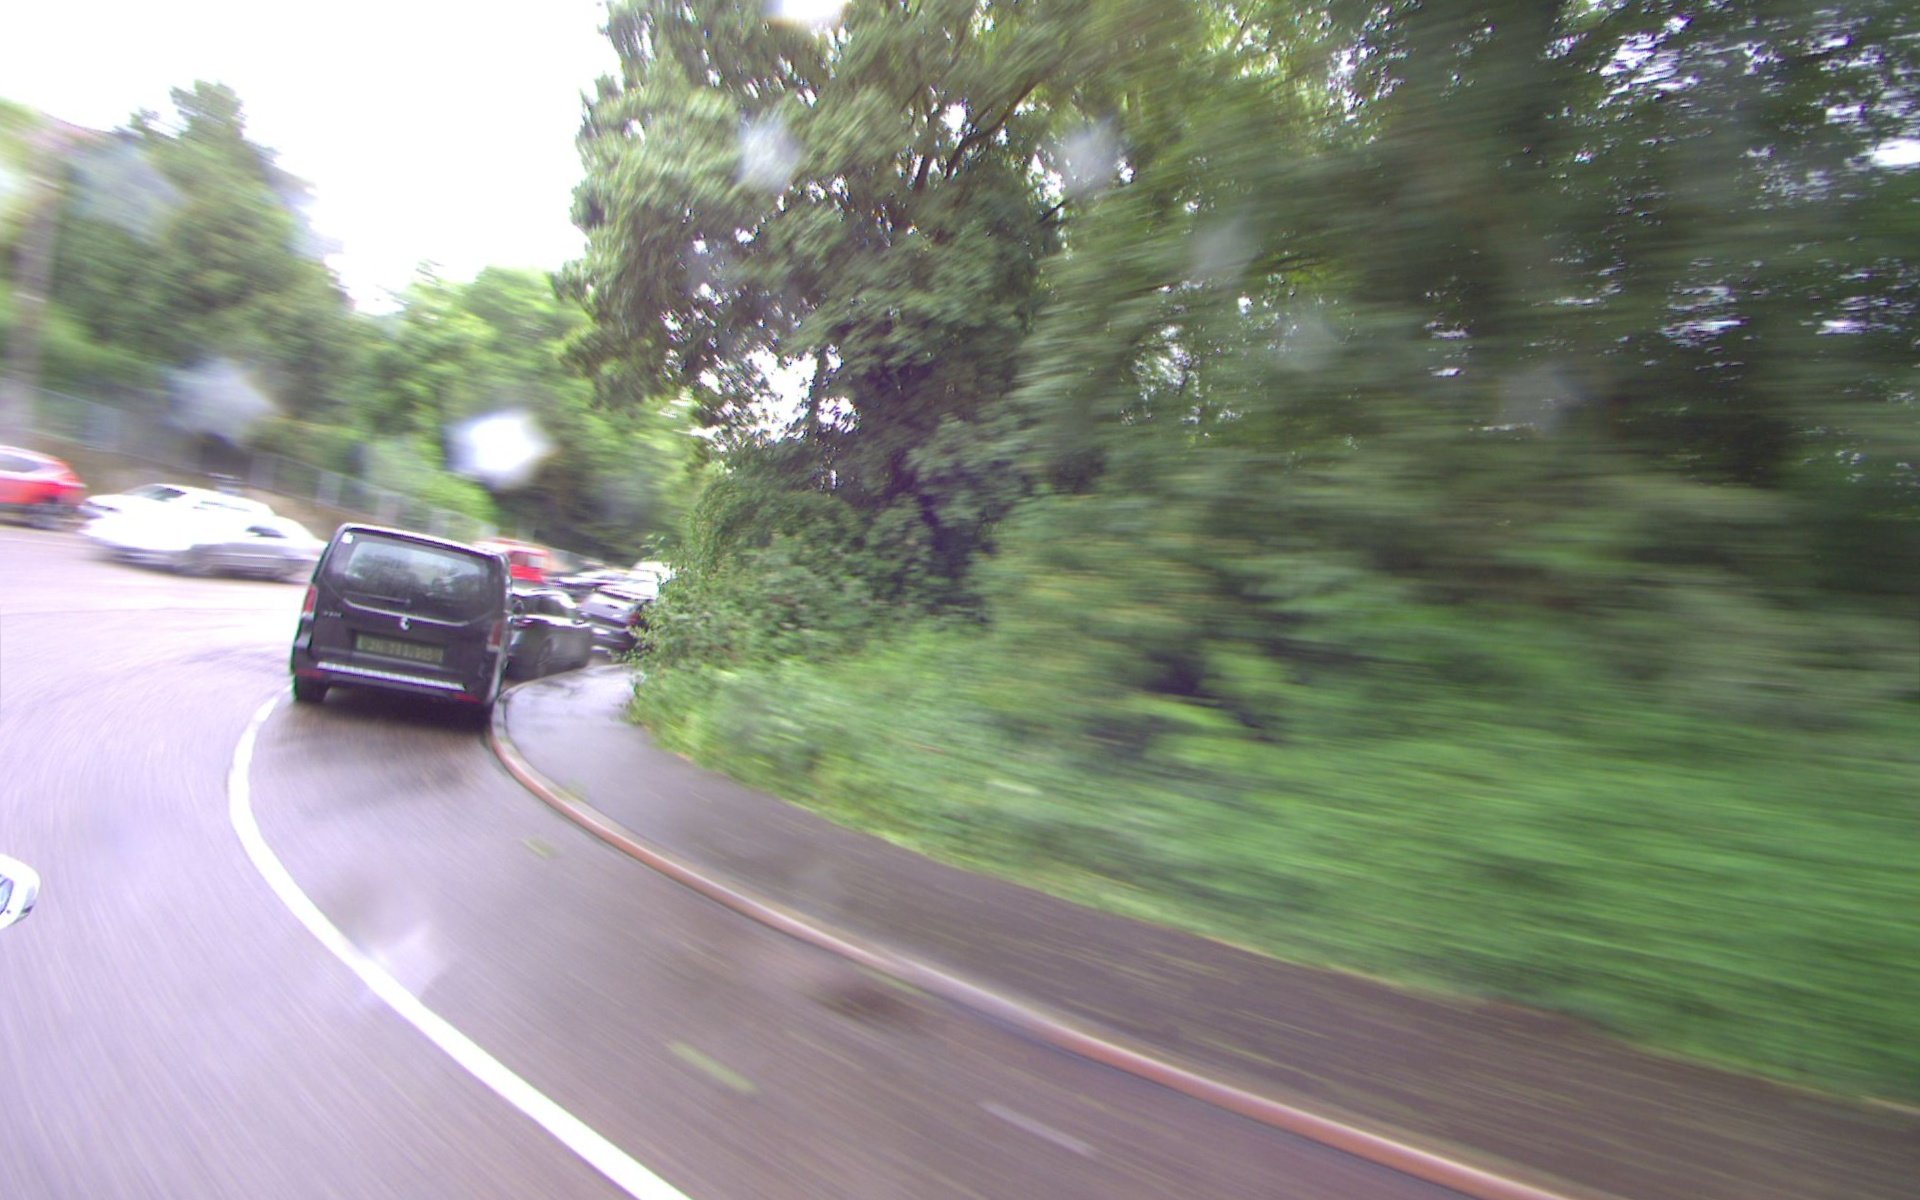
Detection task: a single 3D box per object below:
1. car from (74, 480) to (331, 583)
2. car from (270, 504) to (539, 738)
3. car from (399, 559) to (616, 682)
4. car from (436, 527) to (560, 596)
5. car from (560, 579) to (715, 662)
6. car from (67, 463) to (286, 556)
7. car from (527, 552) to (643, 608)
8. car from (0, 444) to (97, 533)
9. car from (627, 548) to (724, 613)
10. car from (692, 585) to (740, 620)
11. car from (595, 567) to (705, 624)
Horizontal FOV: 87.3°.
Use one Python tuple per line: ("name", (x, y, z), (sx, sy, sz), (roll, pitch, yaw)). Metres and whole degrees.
("car", (-15.545, -1.316, 21.002), (1.758, 1.400, 4.342), (10, -1, 3))
("car", (-6.315, 0.141, 12.035), (1.978, 1.906, 5.007), (13, -2, -24))
("car", (-7.715, 0.281, 17.750), (1.877, 1.504, 4.867), (12, 0, -7))
("car", (-17.111, -1.367, 37.497), (1.723, 1.786, 4.144), (10, -3, 15))
("car", (-7.489, 0.544, 23.736), (1.602, 1.505, 3.749), (12, 0, 12))
("car", (-20.000, -2.245, 25.952), (1.711, 1.495, 4.203), (12, -1, 10))
("car", (-15.592, -0.789, 42.089), (1.963, 1.638, 4.400), (10, -1, 20))
("car", (-20.544, -2.527, 20.514), (1.749, 1.603, 4.435), (11, -1, 2))
("car", (-13.897, -0.860, 49.706), (2.041, 2.579, 6.353), (8, -1, 7))
("car", (-13.661, 0.165, 56.557), (1.777, 1.601, 4.026), (7, -2, -4))
("car", (-11.764, -0.126, 38.473), (1.578, 1.512, 4.034), (11, -1, 24))
